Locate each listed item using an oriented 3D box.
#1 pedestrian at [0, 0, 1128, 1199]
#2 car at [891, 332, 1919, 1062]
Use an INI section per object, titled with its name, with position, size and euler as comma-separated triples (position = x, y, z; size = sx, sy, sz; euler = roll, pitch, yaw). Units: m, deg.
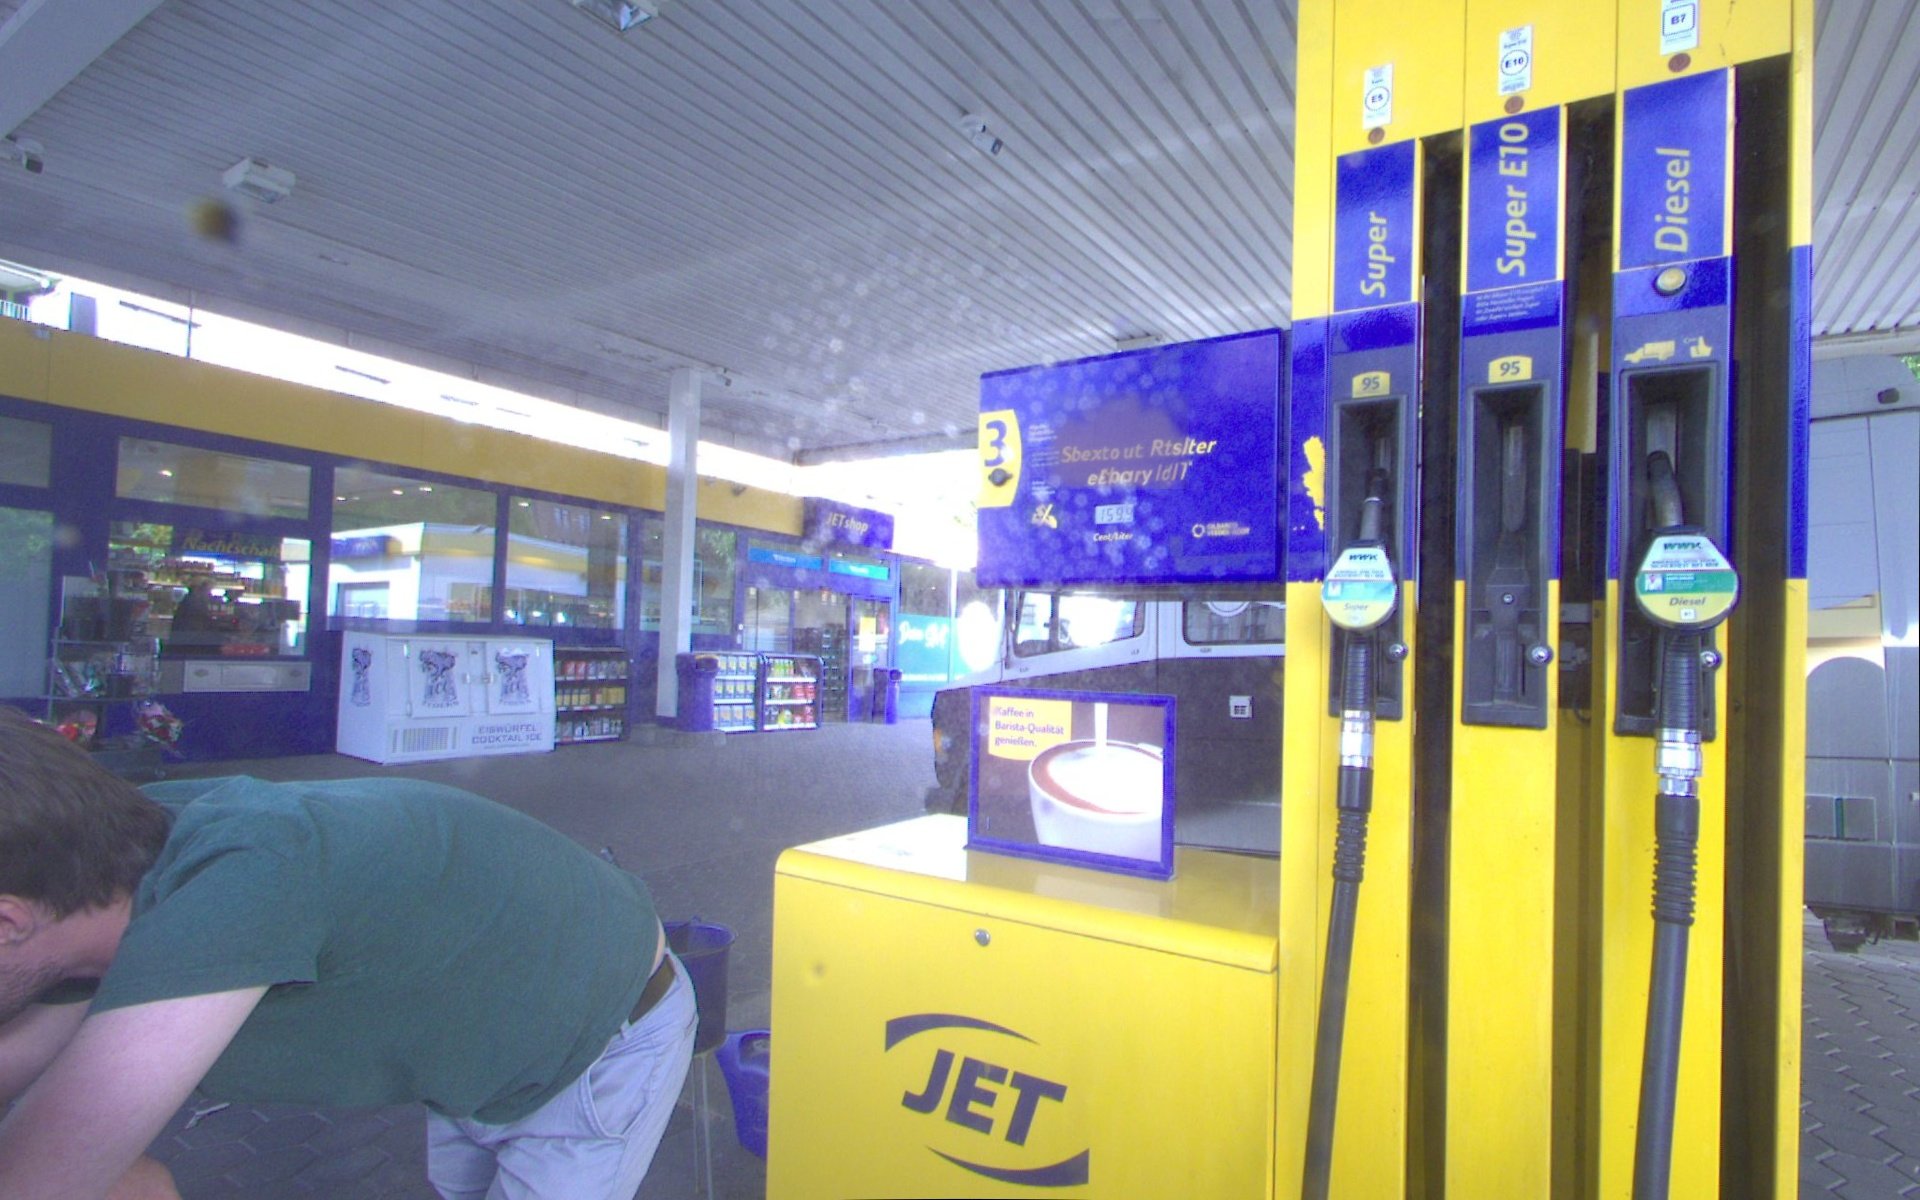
[pedestrian]
position = -0.526, 0.585, 1.081
size = 0.981, 1.750, 1.175
euler = -2, -2, 36
[car]
position = 2.345, 0.443, 5.998
size = 5.271, 2.759, 2.193
euler = -1, -3, 34
